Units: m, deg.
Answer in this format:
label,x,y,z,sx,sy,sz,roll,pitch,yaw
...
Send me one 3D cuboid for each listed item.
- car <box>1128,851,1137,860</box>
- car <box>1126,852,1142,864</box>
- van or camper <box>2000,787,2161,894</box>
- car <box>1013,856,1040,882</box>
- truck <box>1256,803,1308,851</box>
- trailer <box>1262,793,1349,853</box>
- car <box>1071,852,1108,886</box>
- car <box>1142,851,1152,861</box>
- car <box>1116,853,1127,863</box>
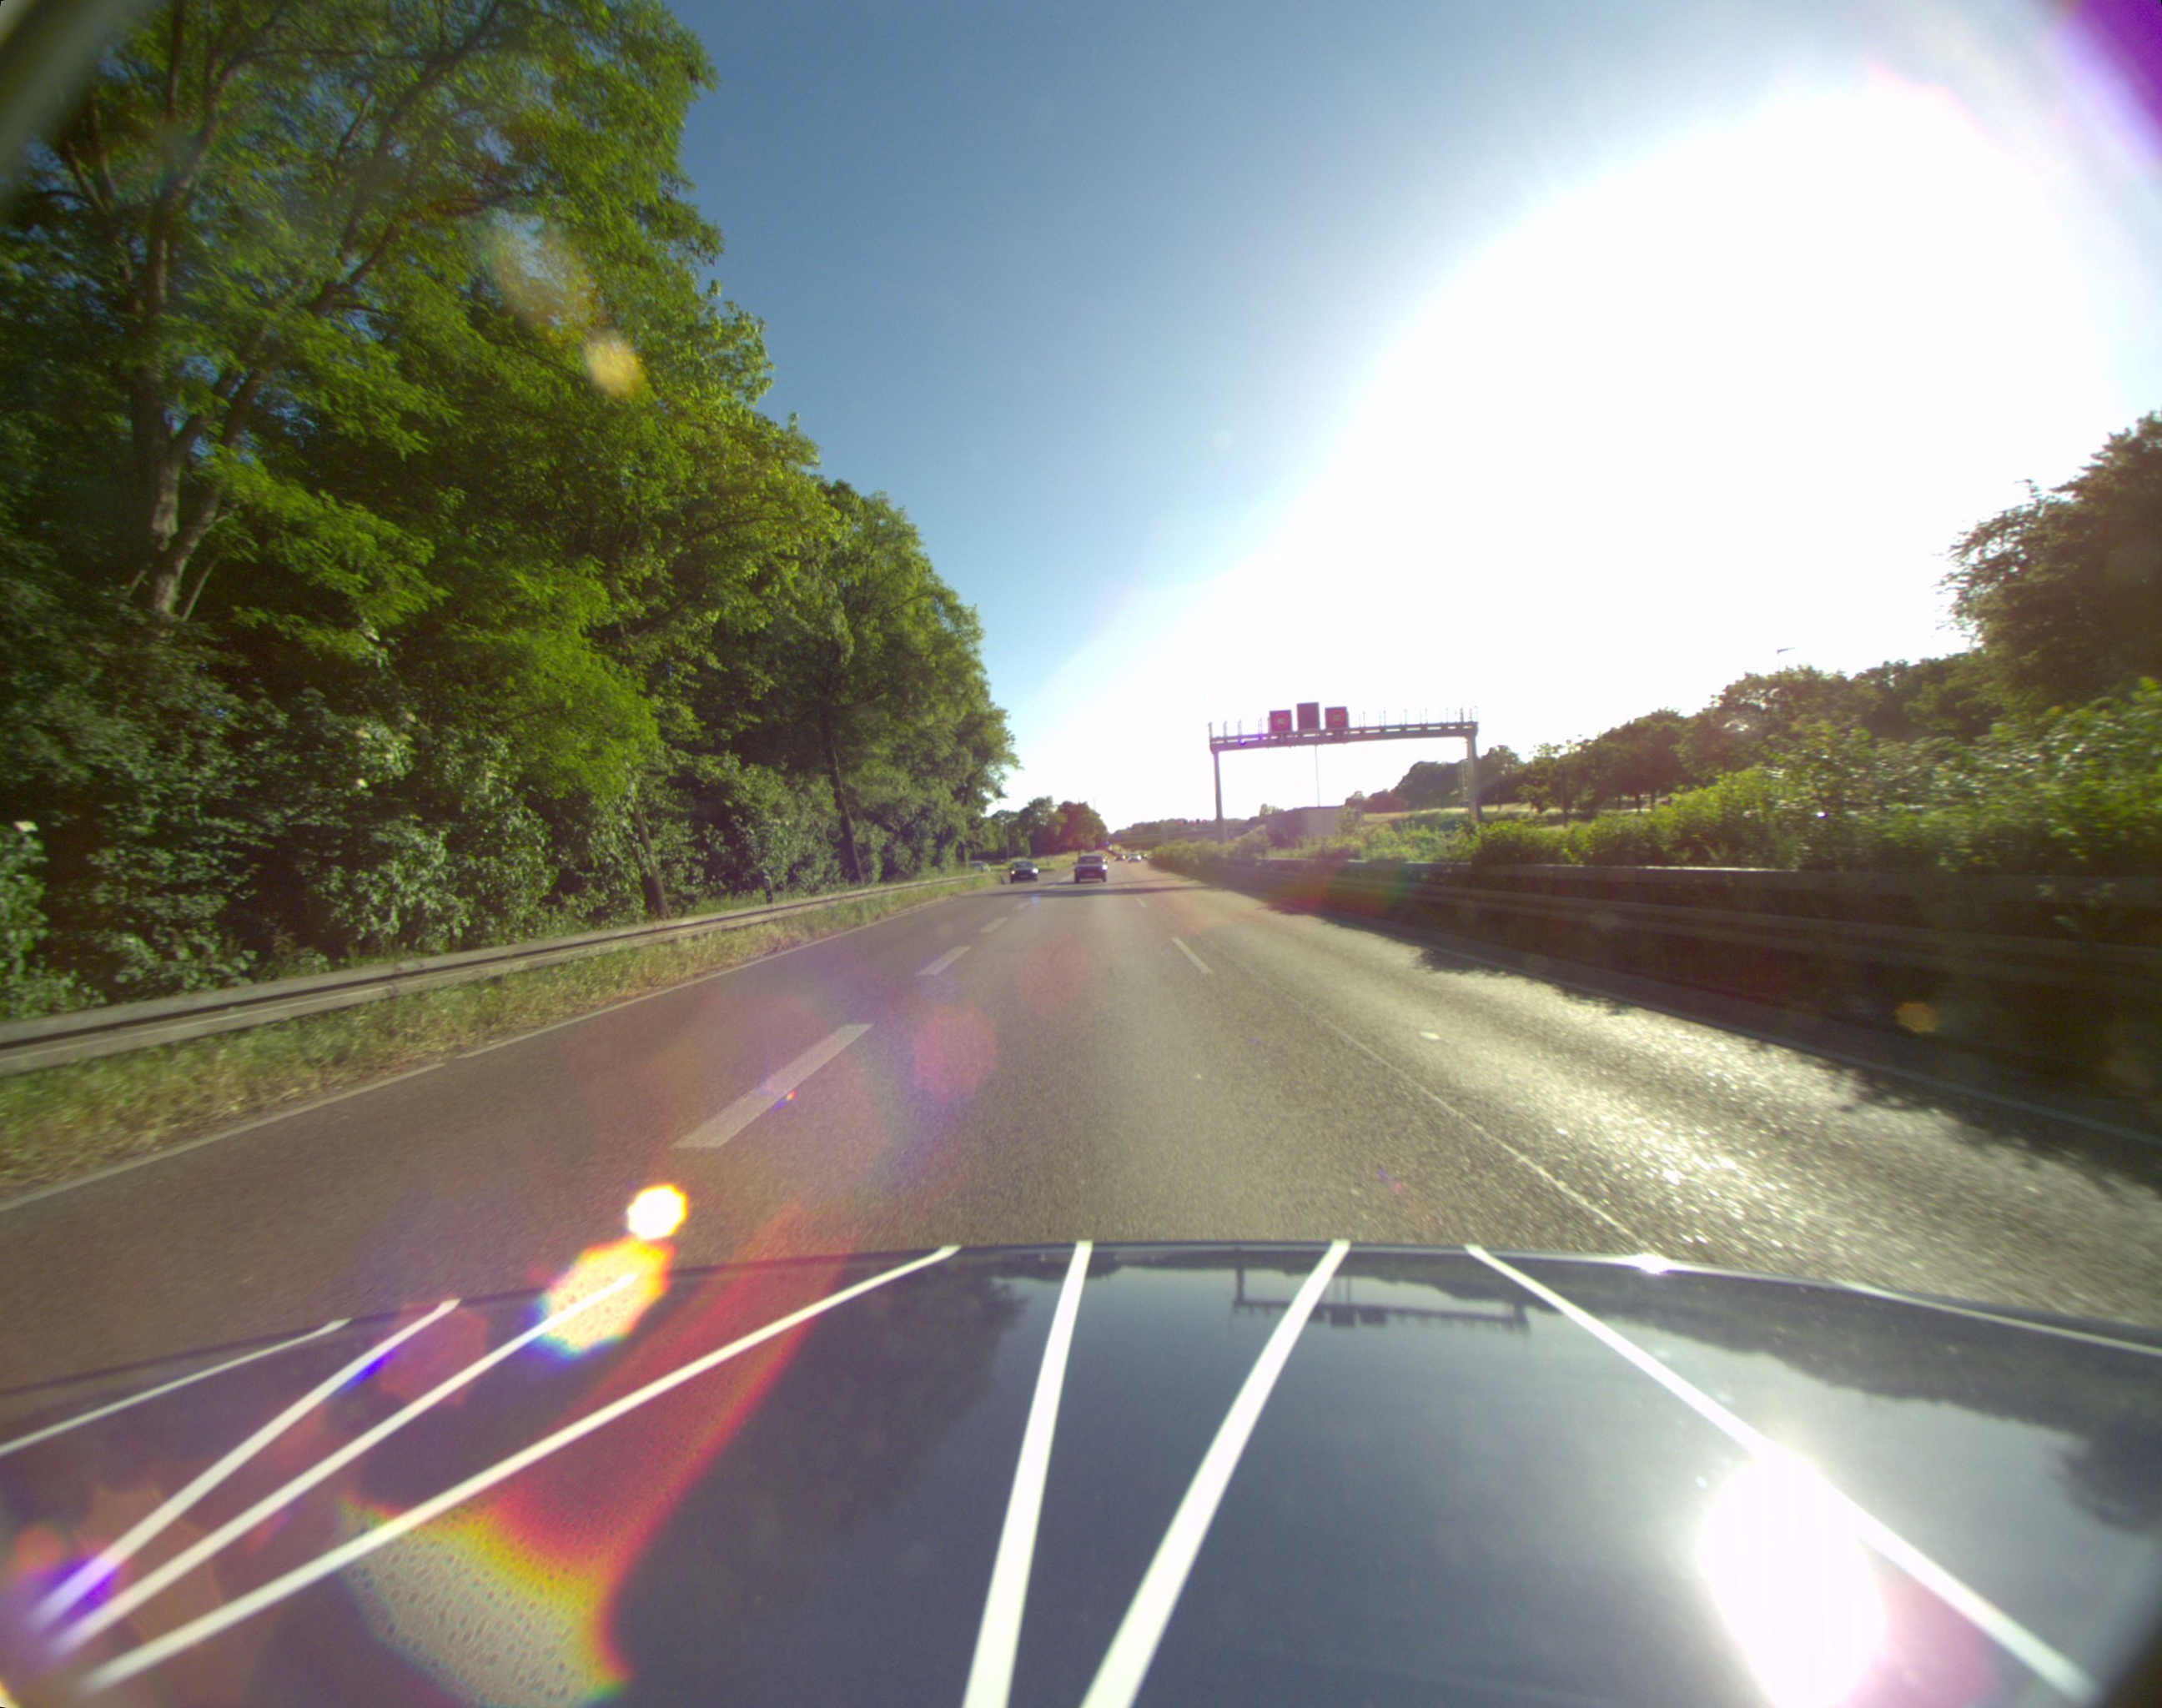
label,x,y,z,sx,sy,sz,roll,pitch,yaw
car,11.830,0.341,175.305,1.998,1.740,4.373,-2,1,4
car,8.018,0.612,115.228,1.998,1.793,3.999,-2,1,0
van or camper,21.048,-0.294,13.700,1.881,2.002,5.939,-3,0,2
car,-3.589,0.948,50.407,1.713,1.565,3.421,-2,1,-3
truck,17.264,-2.269,65.717,3.010,3.890,5.901,-2,1,2
trailer,16.956,-2.163,58.731,3.030,3.965,14.027,-2,1,2
car,0.493,0.739,40.253,1.712,1.565,3.422,-5,1,2
car,13.069,0.344,150.550,1.998,1.740,4.373,-2,1,4
car,7.539,0.648,141.281,1.998,1.740,4.373,-2,1,3
